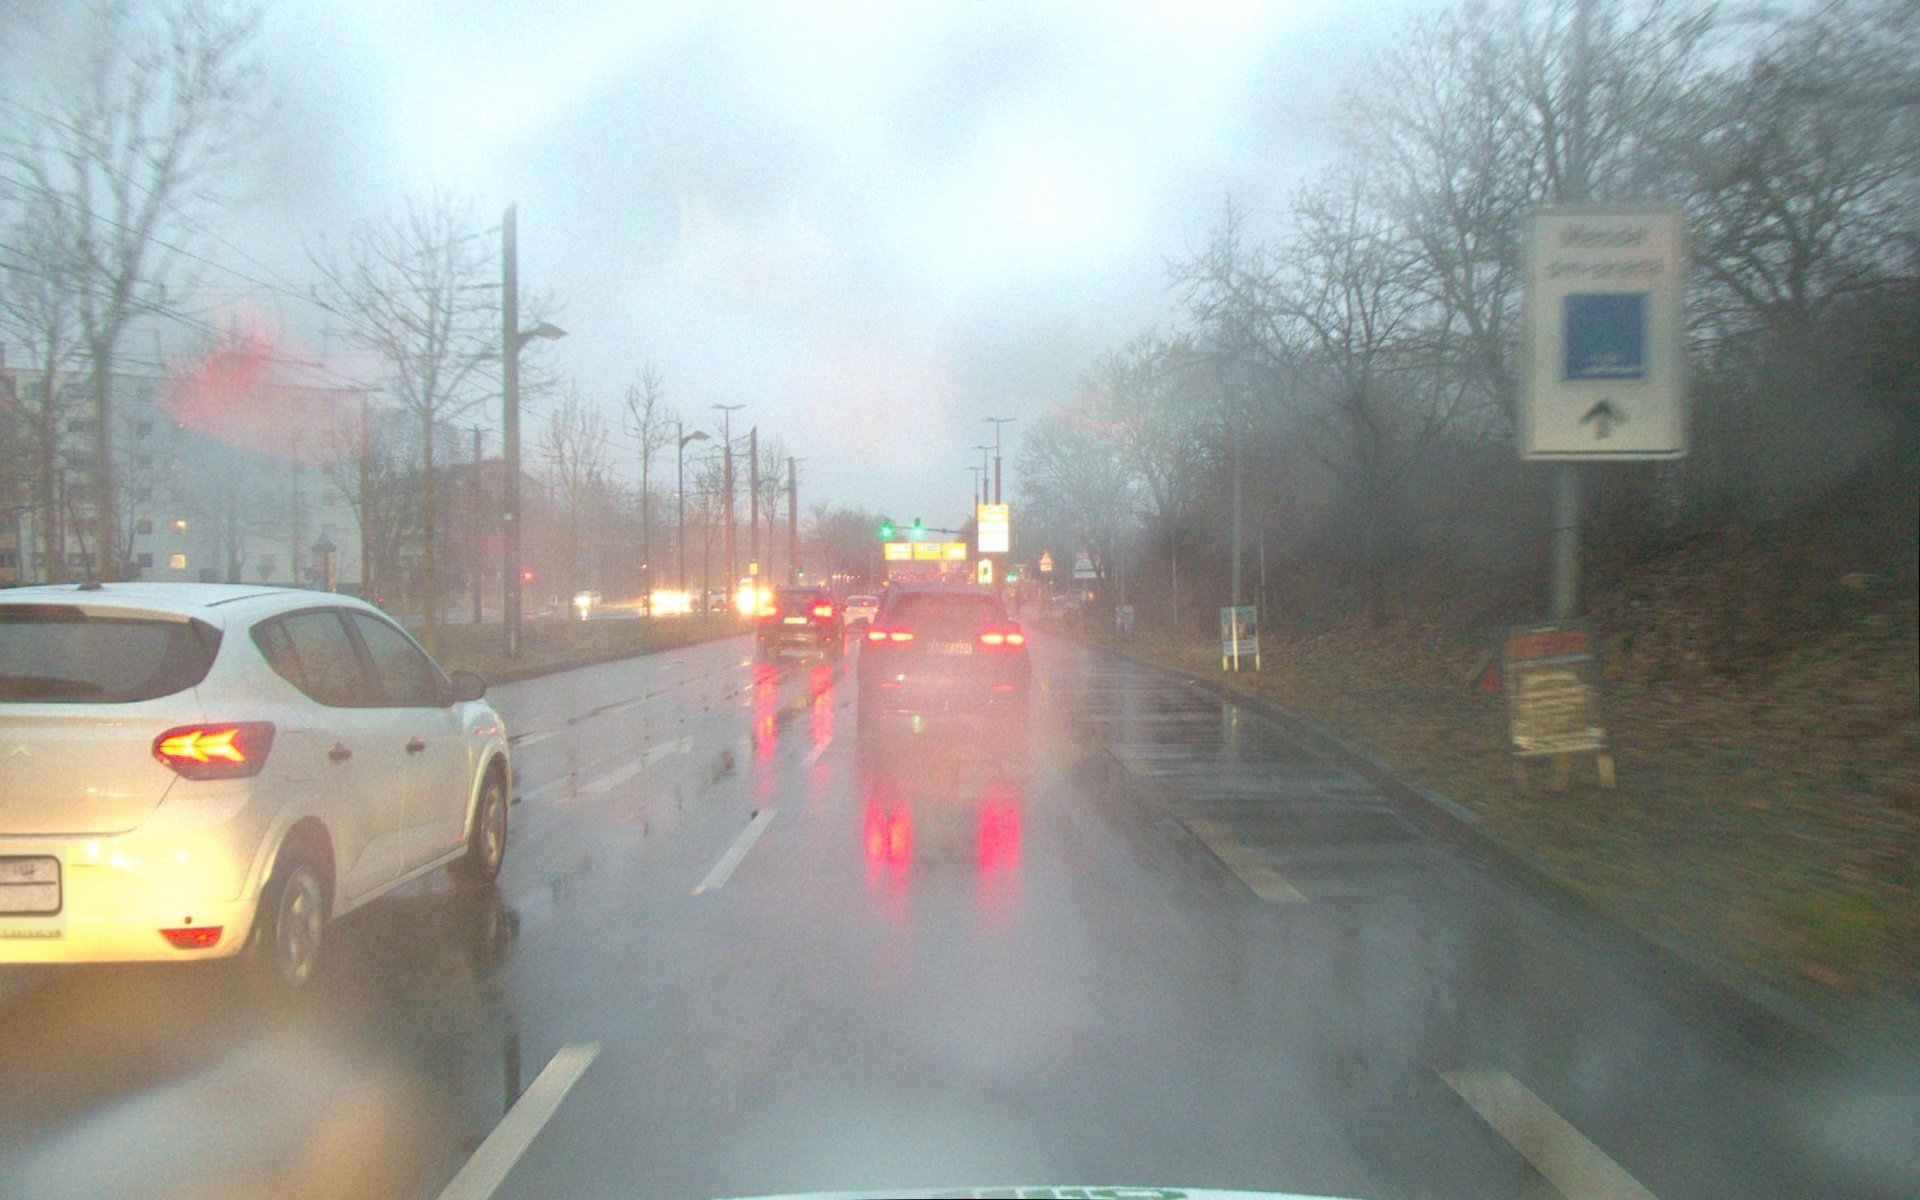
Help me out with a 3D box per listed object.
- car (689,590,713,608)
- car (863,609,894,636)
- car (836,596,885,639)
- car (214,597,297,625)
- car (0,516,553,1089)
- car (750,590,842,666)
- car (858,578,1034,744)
[{"bbox_3d":[-23.422,-0.135,149.518,1.734,1.581,3.945,0,1,-3],"label":"car"},{"bbox_3d":[-4.314,1.181,87.657,1.474,1.362,3.999,0,0,-1],"label":"car"},{"bbox_3d":[-3.961,0.675,66.430,1.785,1.676,3.999,0,0,-1],"label":"car"},{"bbox_3d":[-41.346,0.616,97.092,4.376,1.571,1.834,-1,0,-29],"label":"car"},{"bbox_3d":[-3.031,0.584,6.914,1.679,1.676,4.146,0,0,-1],"label":"car"},{"bbox_3d":[-3.750,0.609,38.406,1.785,1.676,3.999,0,0,-1],"label":"car"},{"bbox_3d":[-0.174,0.610,19.104,1.785,1.676,4.466,0,0,-1],"label":"car"}]
